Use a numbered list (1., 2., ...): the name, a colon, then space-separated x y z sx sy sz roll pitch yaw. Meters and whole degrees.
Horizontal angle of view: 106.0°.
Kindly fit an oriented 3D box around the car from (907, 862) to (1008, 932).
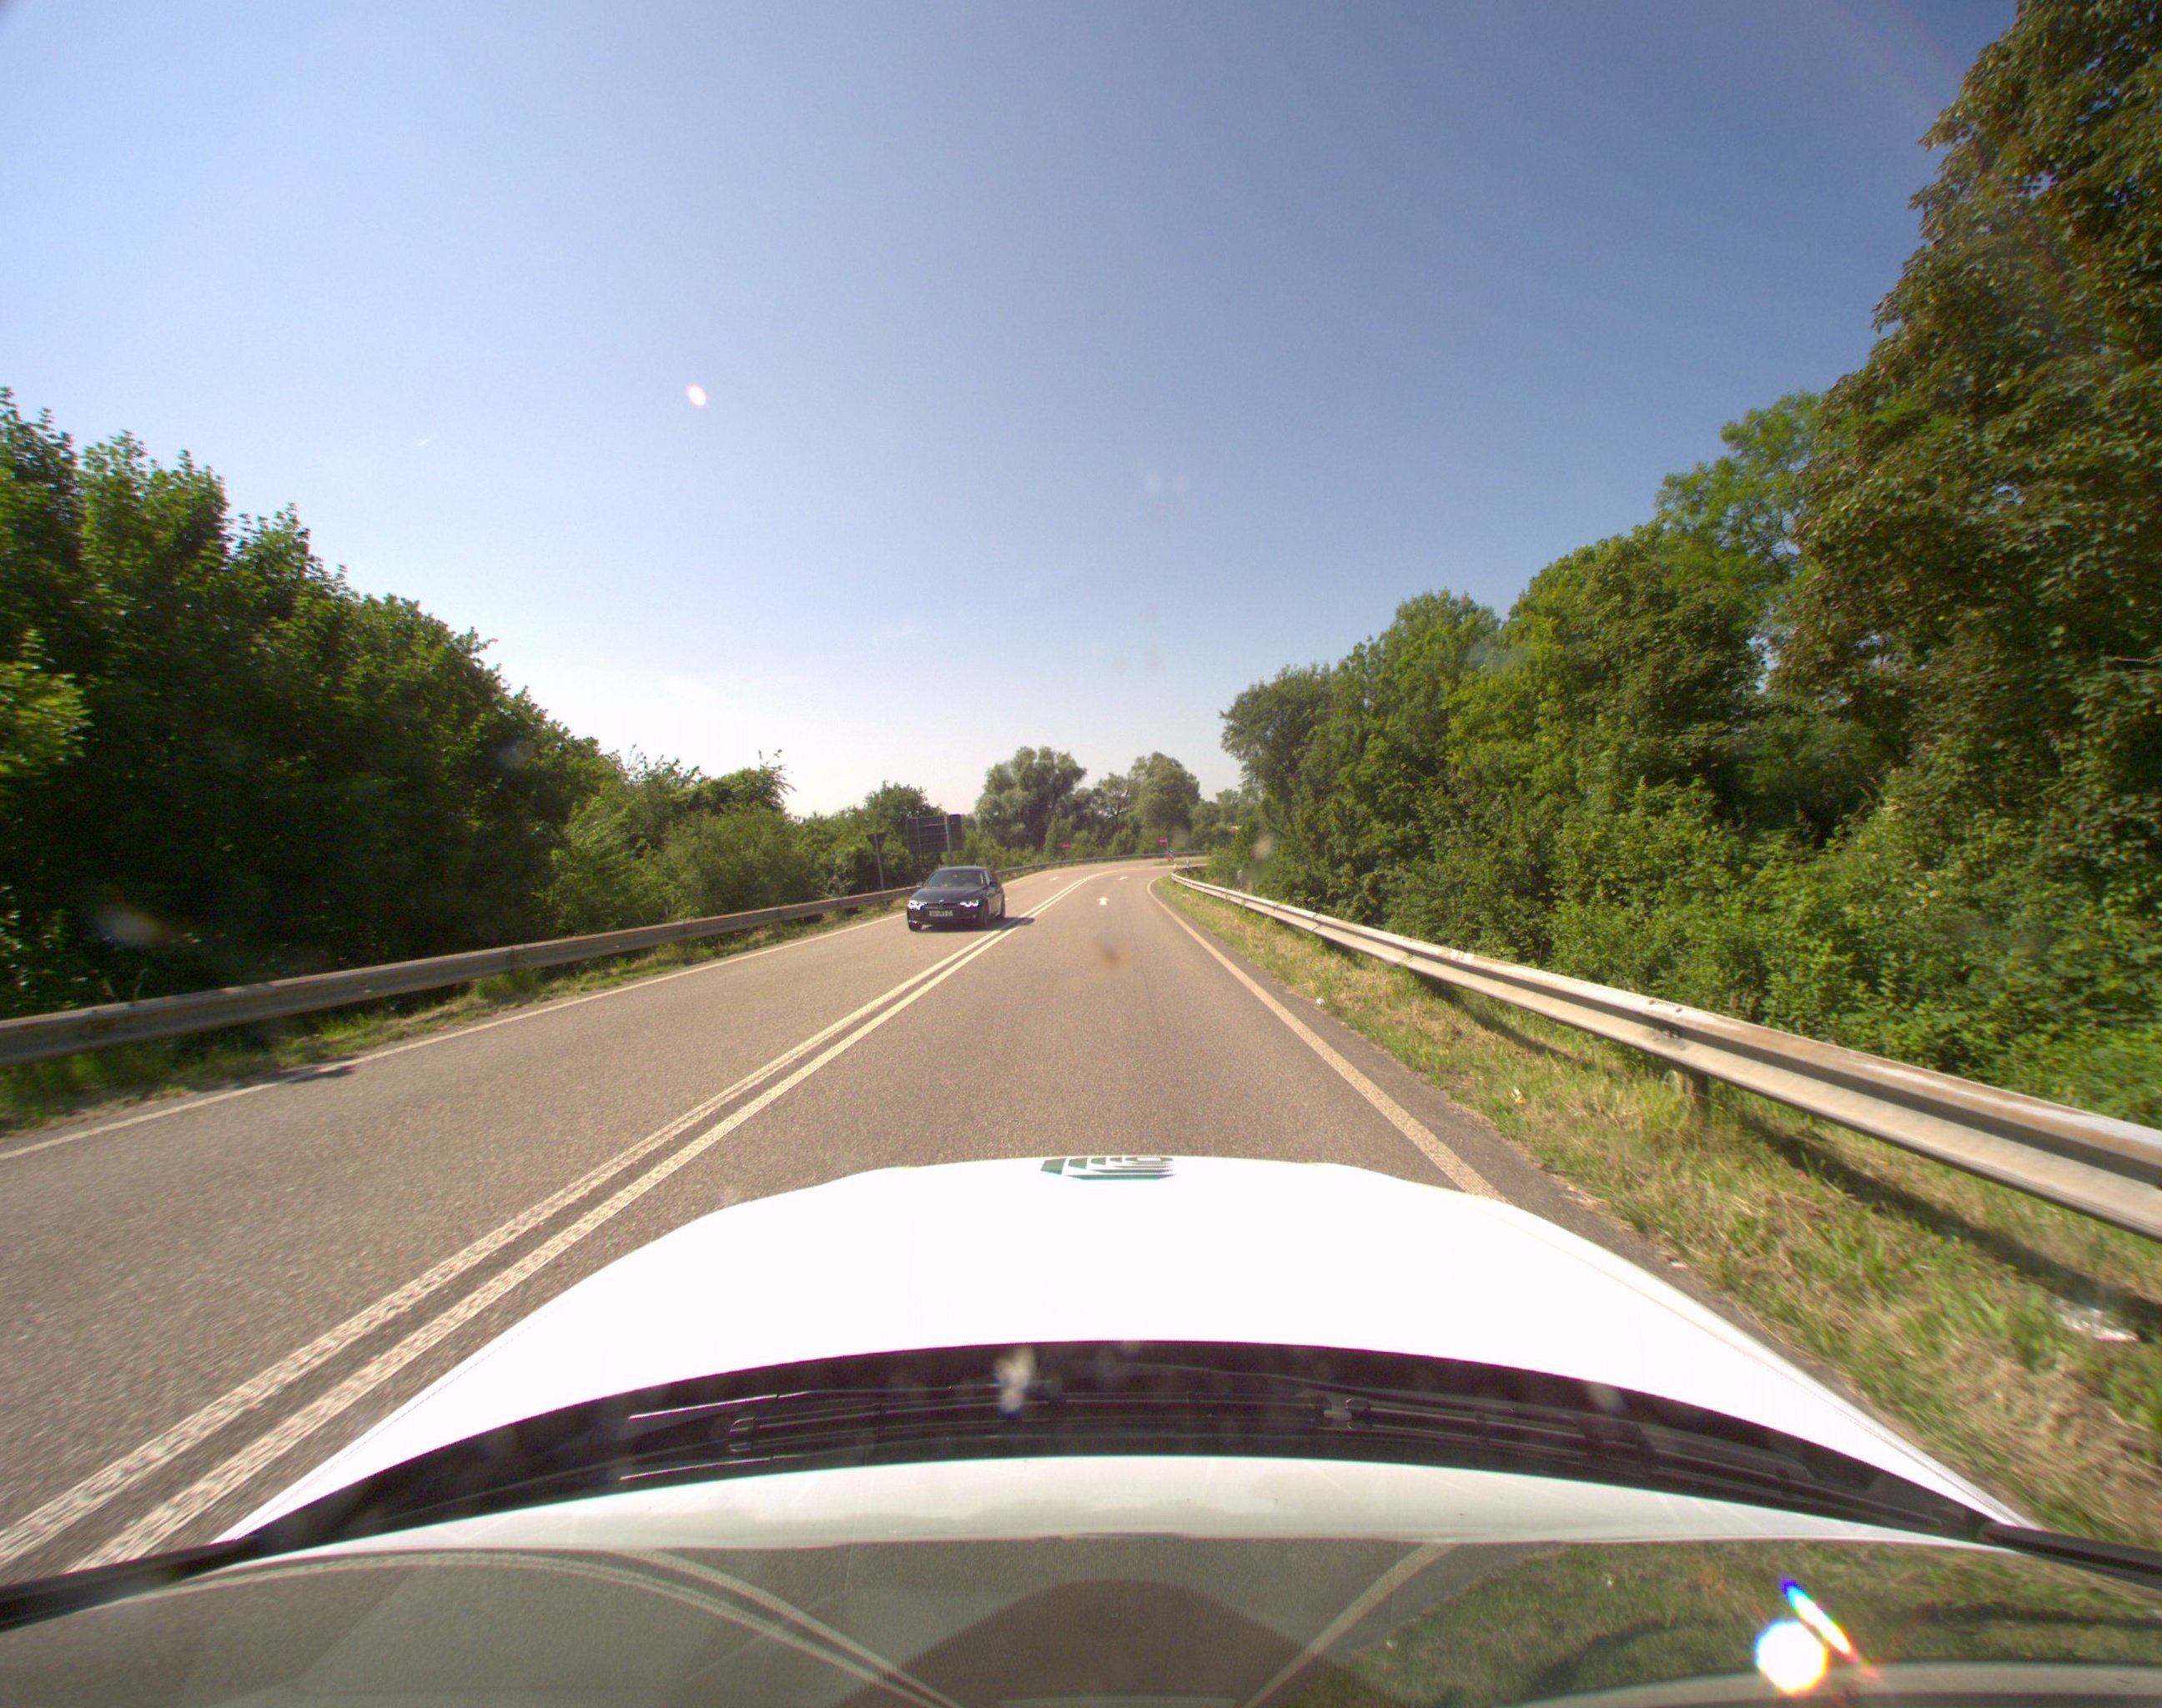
1. car: -2.906 0.966 20.008 1.601 1.473 4.222 -2 -1 3
